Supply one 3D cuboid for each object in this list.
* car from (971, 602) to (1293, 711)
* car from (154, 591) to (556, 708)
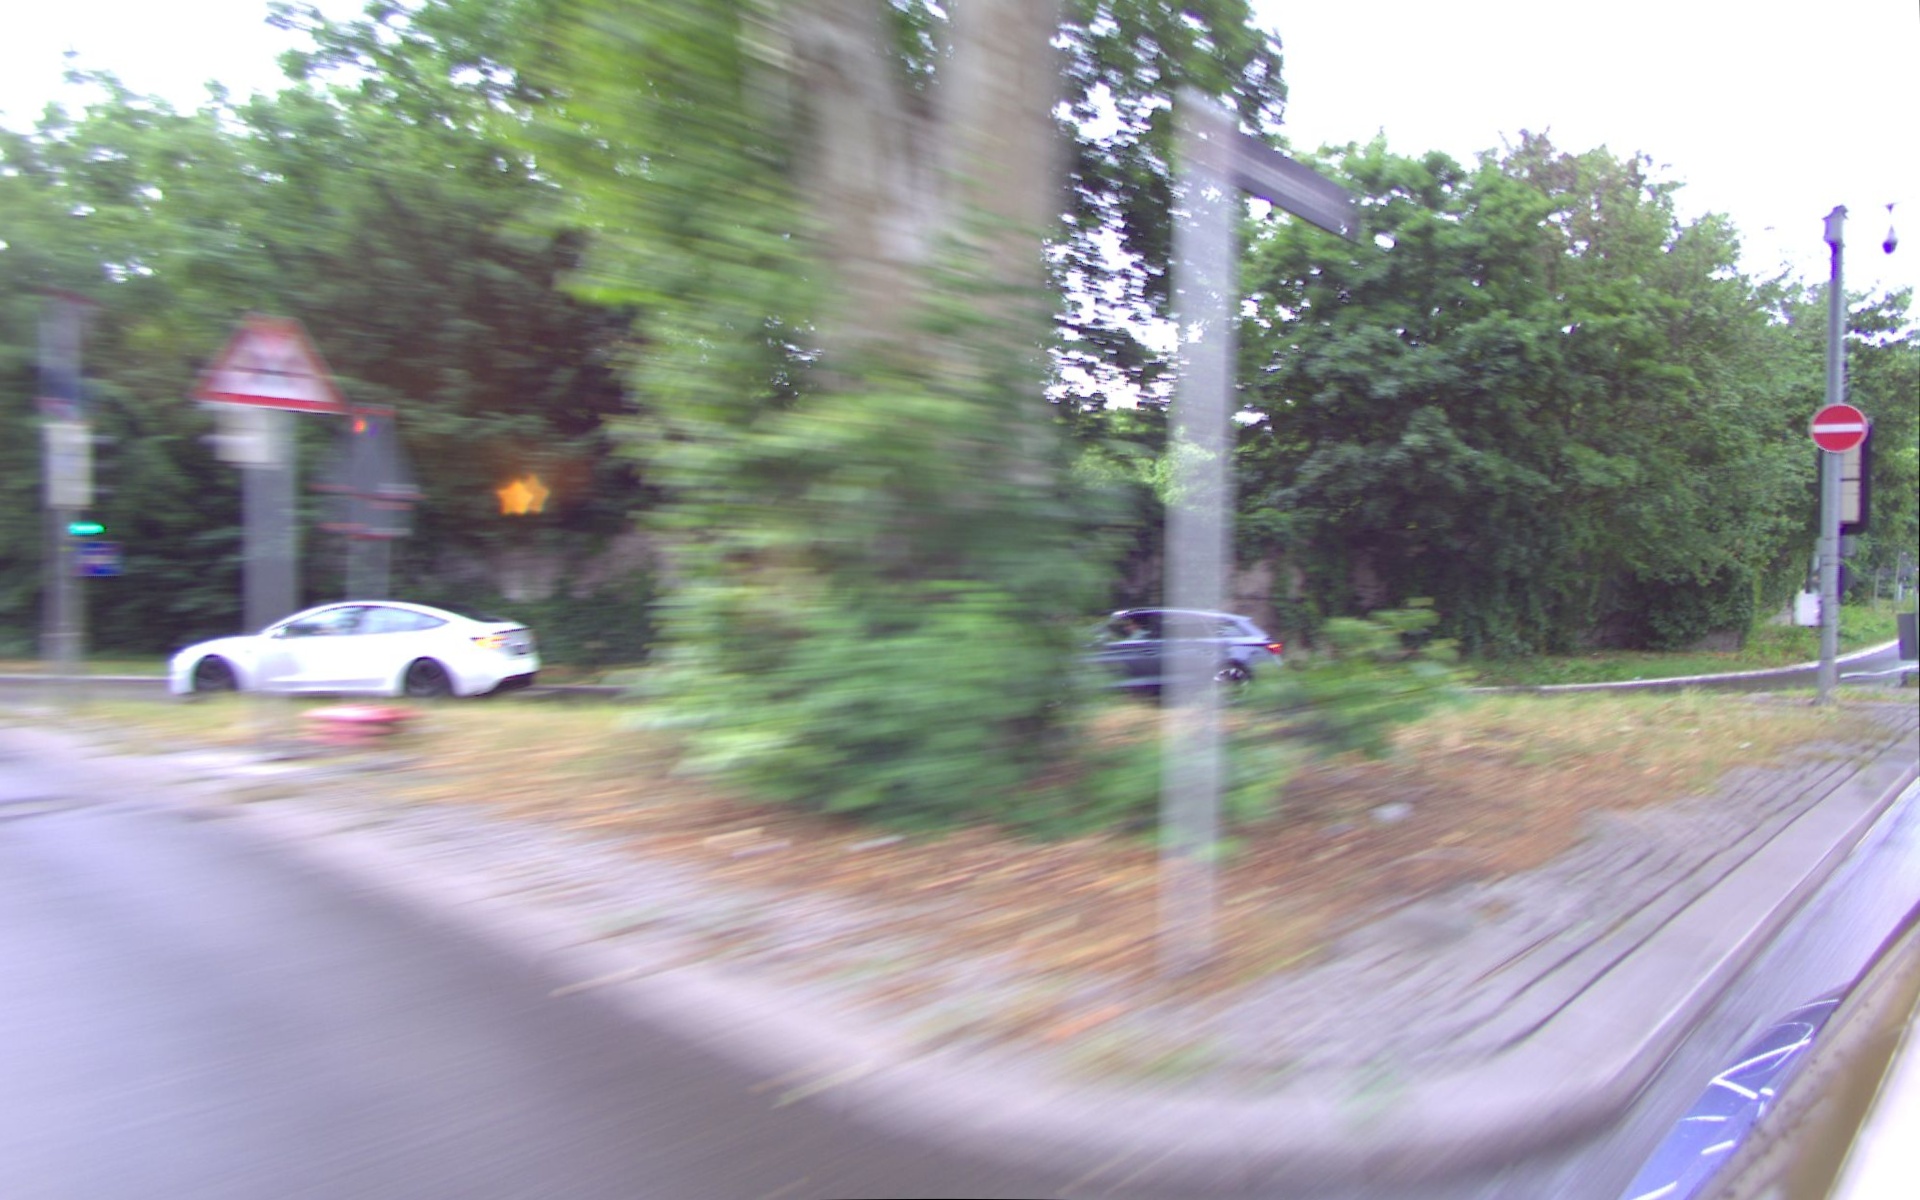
[{"bbox_3d":[2.477,0.799,14.998,4.322,1.421,1.756,-1,-2,-12],"label":"car"},{"bbox_3d":[-8.288,0.639,14.184,4.530,1.466,1.859,0,2,0],"label":"car"}]
